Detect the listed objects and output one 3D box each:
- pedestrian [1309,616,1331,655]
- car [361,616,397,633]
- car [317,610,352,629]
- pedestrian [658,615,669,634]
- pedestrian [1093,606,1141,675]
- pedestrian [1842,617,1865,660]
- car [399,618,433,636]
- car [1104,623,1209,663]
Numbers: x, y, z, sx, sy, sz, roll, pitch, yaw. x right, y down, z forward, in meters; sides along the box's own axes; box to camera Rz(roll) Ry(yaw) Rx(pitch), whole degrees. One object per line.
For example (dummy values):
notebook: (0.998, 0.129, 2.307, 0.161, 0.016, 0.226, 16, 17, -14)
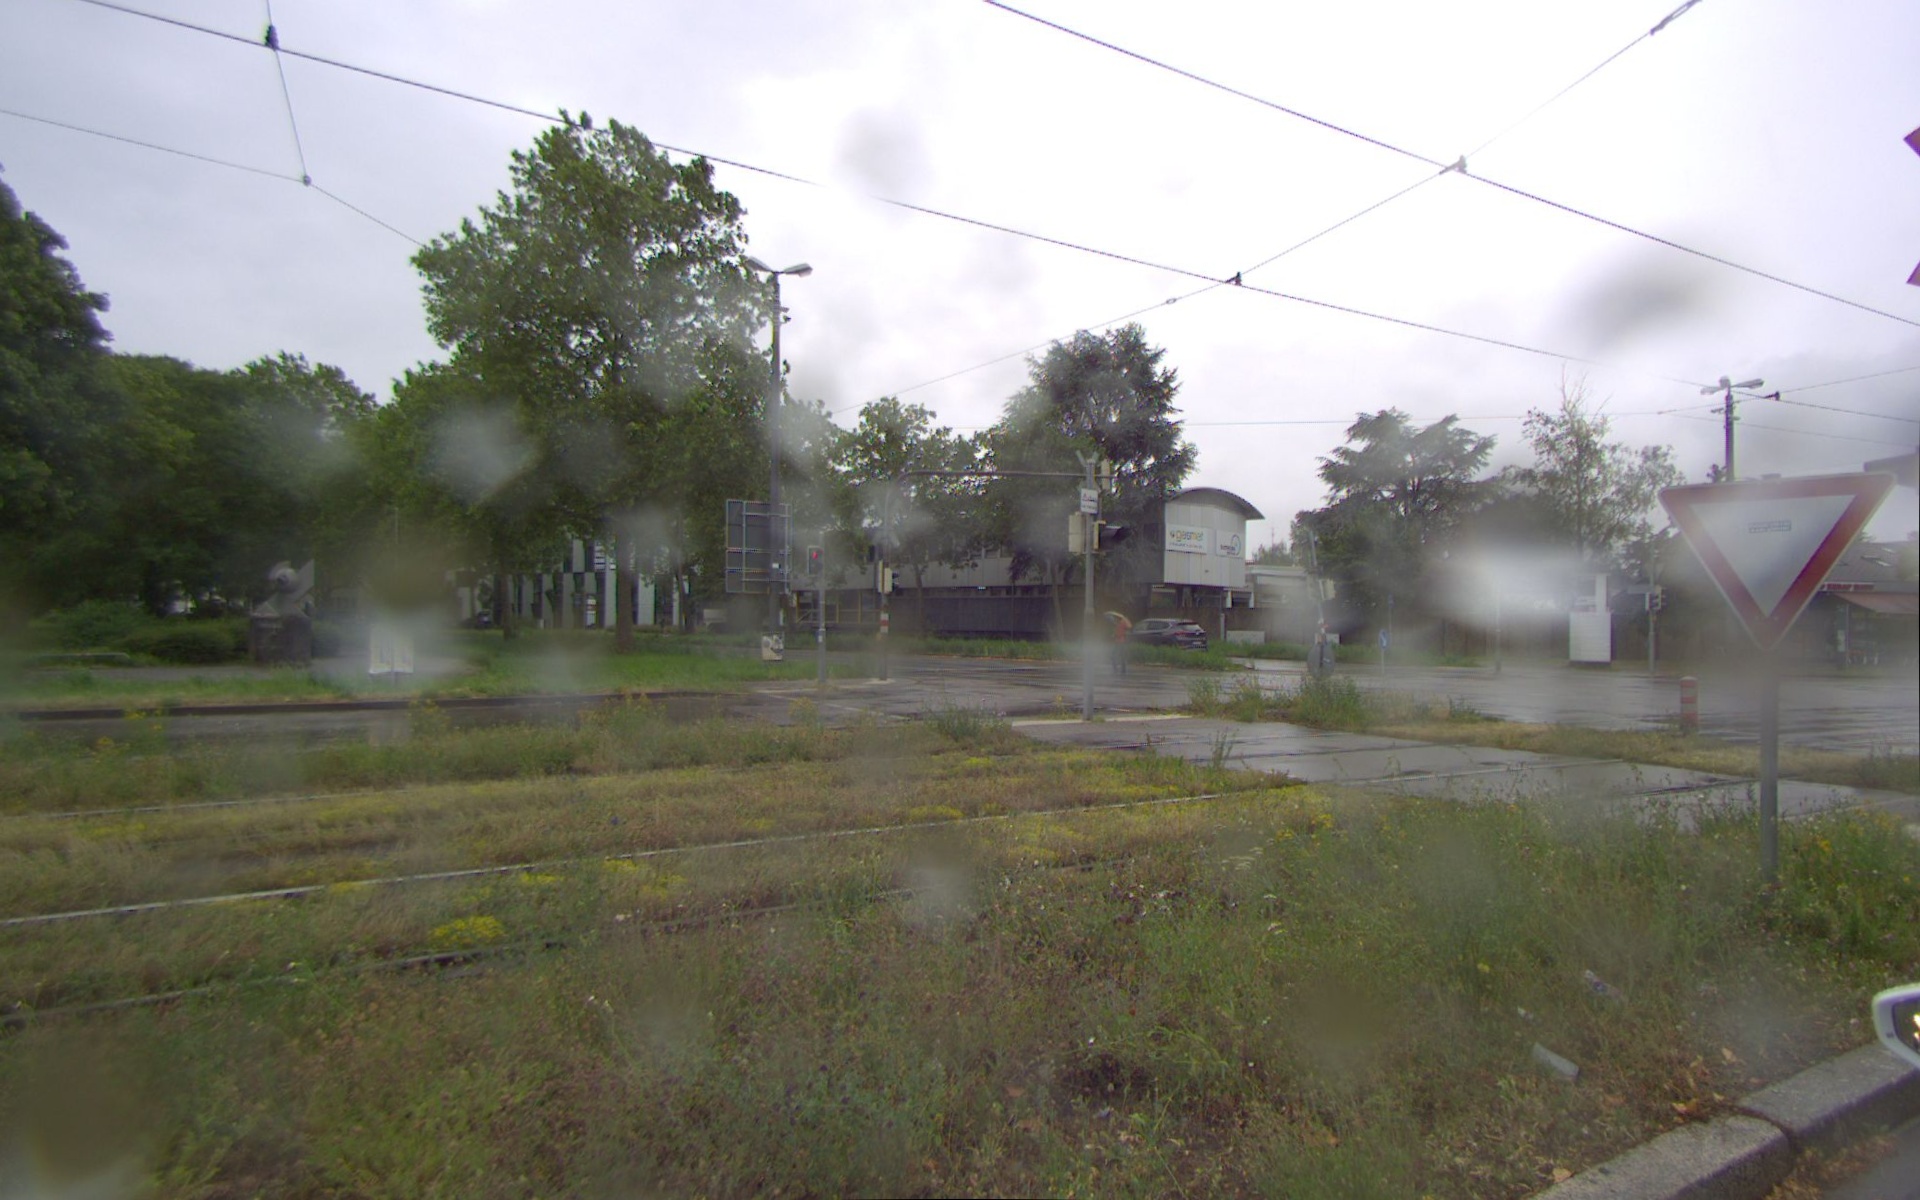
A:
pedestrian: (17.424, 1.703, 48.586, 0.870, 1.821, 0.726, 2, 1, 26)
car: (-65.878, 2.750, 113.877, 3.934, 1.806, 1.993, 2, 0, 36)
car: (-75.289, 2.353, 120.891, 3.932, 2.116, 2.123, 2, 0, 33)
pedestrian: (-26.890, 2.254, 91.116, 0.813, 1.690, 0.669, 2, 0, 43)
pedestrian: (4.674, 1.196, 29.947, 0.998, 2.017, 0.945, 2, 0, -34)
pedestrian: (43.383, 1.854, 48.762, 0.714, 2.040, 0.791, 2, 0, 38)
car: (-59.759, 2.979, 110.254, 3.940, 1.806, 1.990, 2, 0, 41)
car: (7.966, 1.706, 41.012, 1.679, 1.417, 4.087, 2, 0, -39)
